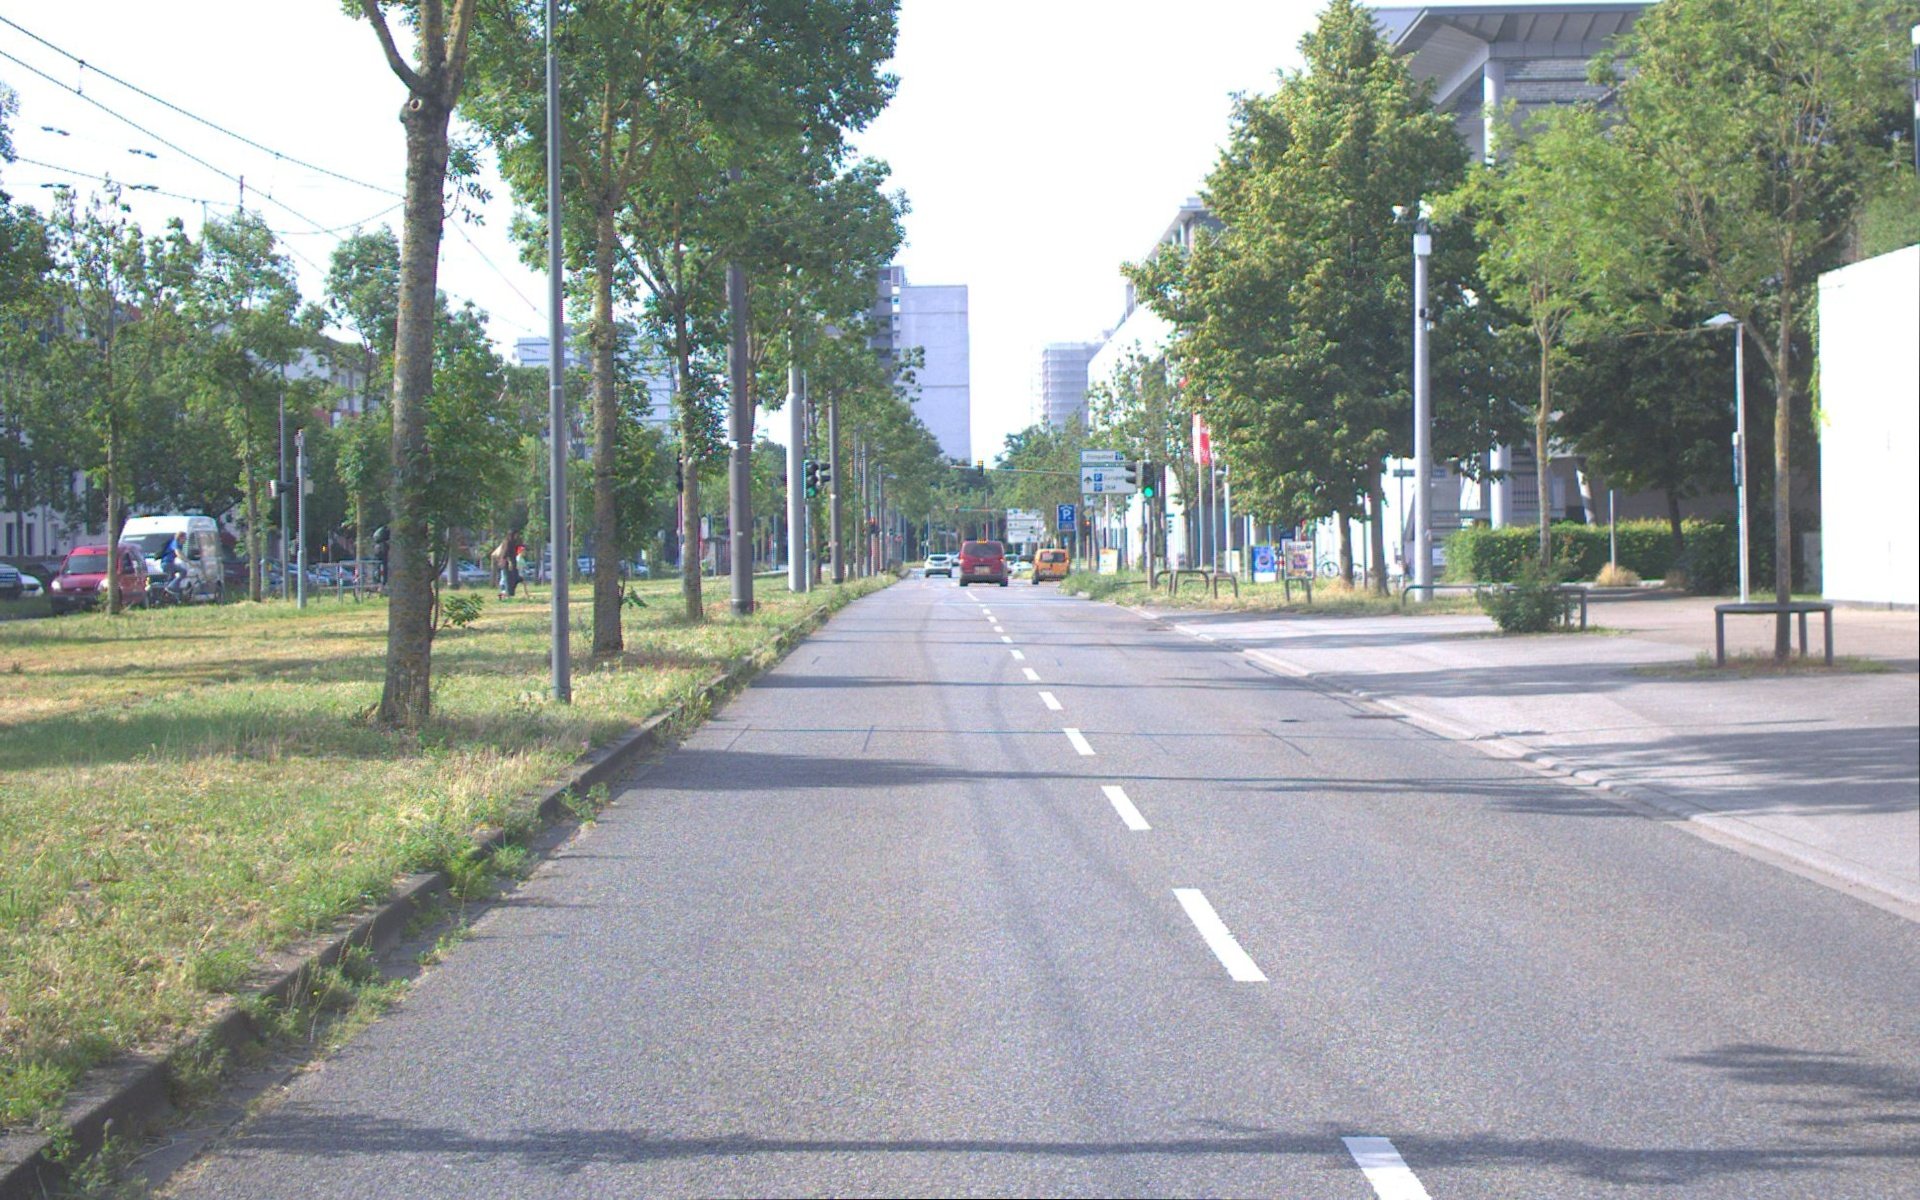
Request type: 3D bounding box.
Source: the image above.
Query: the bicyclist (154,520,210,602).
[{"bbox_3d":[-17.111,-0.857,75.635,1.146,1.756,0.686,1,0,-14],"label":"bicyclist"}]

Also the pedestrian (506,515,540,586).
[{"bbox_3d":[-9.787,-1.106,76.938,0.625,1.566,0.711,1,0,1],"label":"pedestrian"}]

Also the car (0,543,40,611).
[{"bbox_3d":[-26.604,-0.659,89.685,5.320,1.732,1.996,2,1,34],"label":"car"}]

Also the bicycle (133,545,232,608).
[{"bbox_3d":[-17.111,-0.512,75.640,2.065,1.319,0.784,1,0,-14],"label":"bicycle"}]

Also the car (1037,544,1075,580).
[{"bbox_3d":[4.573,-1.815,163.953,1.748,1.645,3.216,2,1,1],"label":"car"}]

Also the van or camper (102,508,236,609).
[{"bbox_3d":[-20.899,-1.091,91.124,2.203,2.522,6.031,1,1,-1],"label":"van or camper"}]

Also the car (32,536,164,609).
[{"bbox_3d":[-21.058,-0.676,84.182,1.965,1.688,4.297,2,1,2],"label":"car"}]

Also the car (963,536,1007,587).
[{"bbox_3d":[1.017,-1.567,140.847,1.748,2.007,3.216,2,1,1],"label":"car"}]

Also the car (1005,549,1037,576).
[{"bbox_3d":[3.874,-2.368,218.372,1.748,1.645,3.216,1,1,-3],"label":"car"}]

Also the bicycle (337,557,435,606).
[{"bbox_3d":[-12.989,-0.420,77.822,2.066,1.038,0.668,1,0,-29],"label":"bicycle"}]

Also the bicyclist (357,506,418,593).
[{"bbox_3d":[-12.950,-1.148,77.801,1.147,1.927,0.686,1,0,-29],"label":"bicyclist"}]

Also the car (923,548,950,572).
[{"bbox_3d":[-1.611,-2.756,238.374,1.748,1.645,3.216,2,1,1],"label":"car"}]
